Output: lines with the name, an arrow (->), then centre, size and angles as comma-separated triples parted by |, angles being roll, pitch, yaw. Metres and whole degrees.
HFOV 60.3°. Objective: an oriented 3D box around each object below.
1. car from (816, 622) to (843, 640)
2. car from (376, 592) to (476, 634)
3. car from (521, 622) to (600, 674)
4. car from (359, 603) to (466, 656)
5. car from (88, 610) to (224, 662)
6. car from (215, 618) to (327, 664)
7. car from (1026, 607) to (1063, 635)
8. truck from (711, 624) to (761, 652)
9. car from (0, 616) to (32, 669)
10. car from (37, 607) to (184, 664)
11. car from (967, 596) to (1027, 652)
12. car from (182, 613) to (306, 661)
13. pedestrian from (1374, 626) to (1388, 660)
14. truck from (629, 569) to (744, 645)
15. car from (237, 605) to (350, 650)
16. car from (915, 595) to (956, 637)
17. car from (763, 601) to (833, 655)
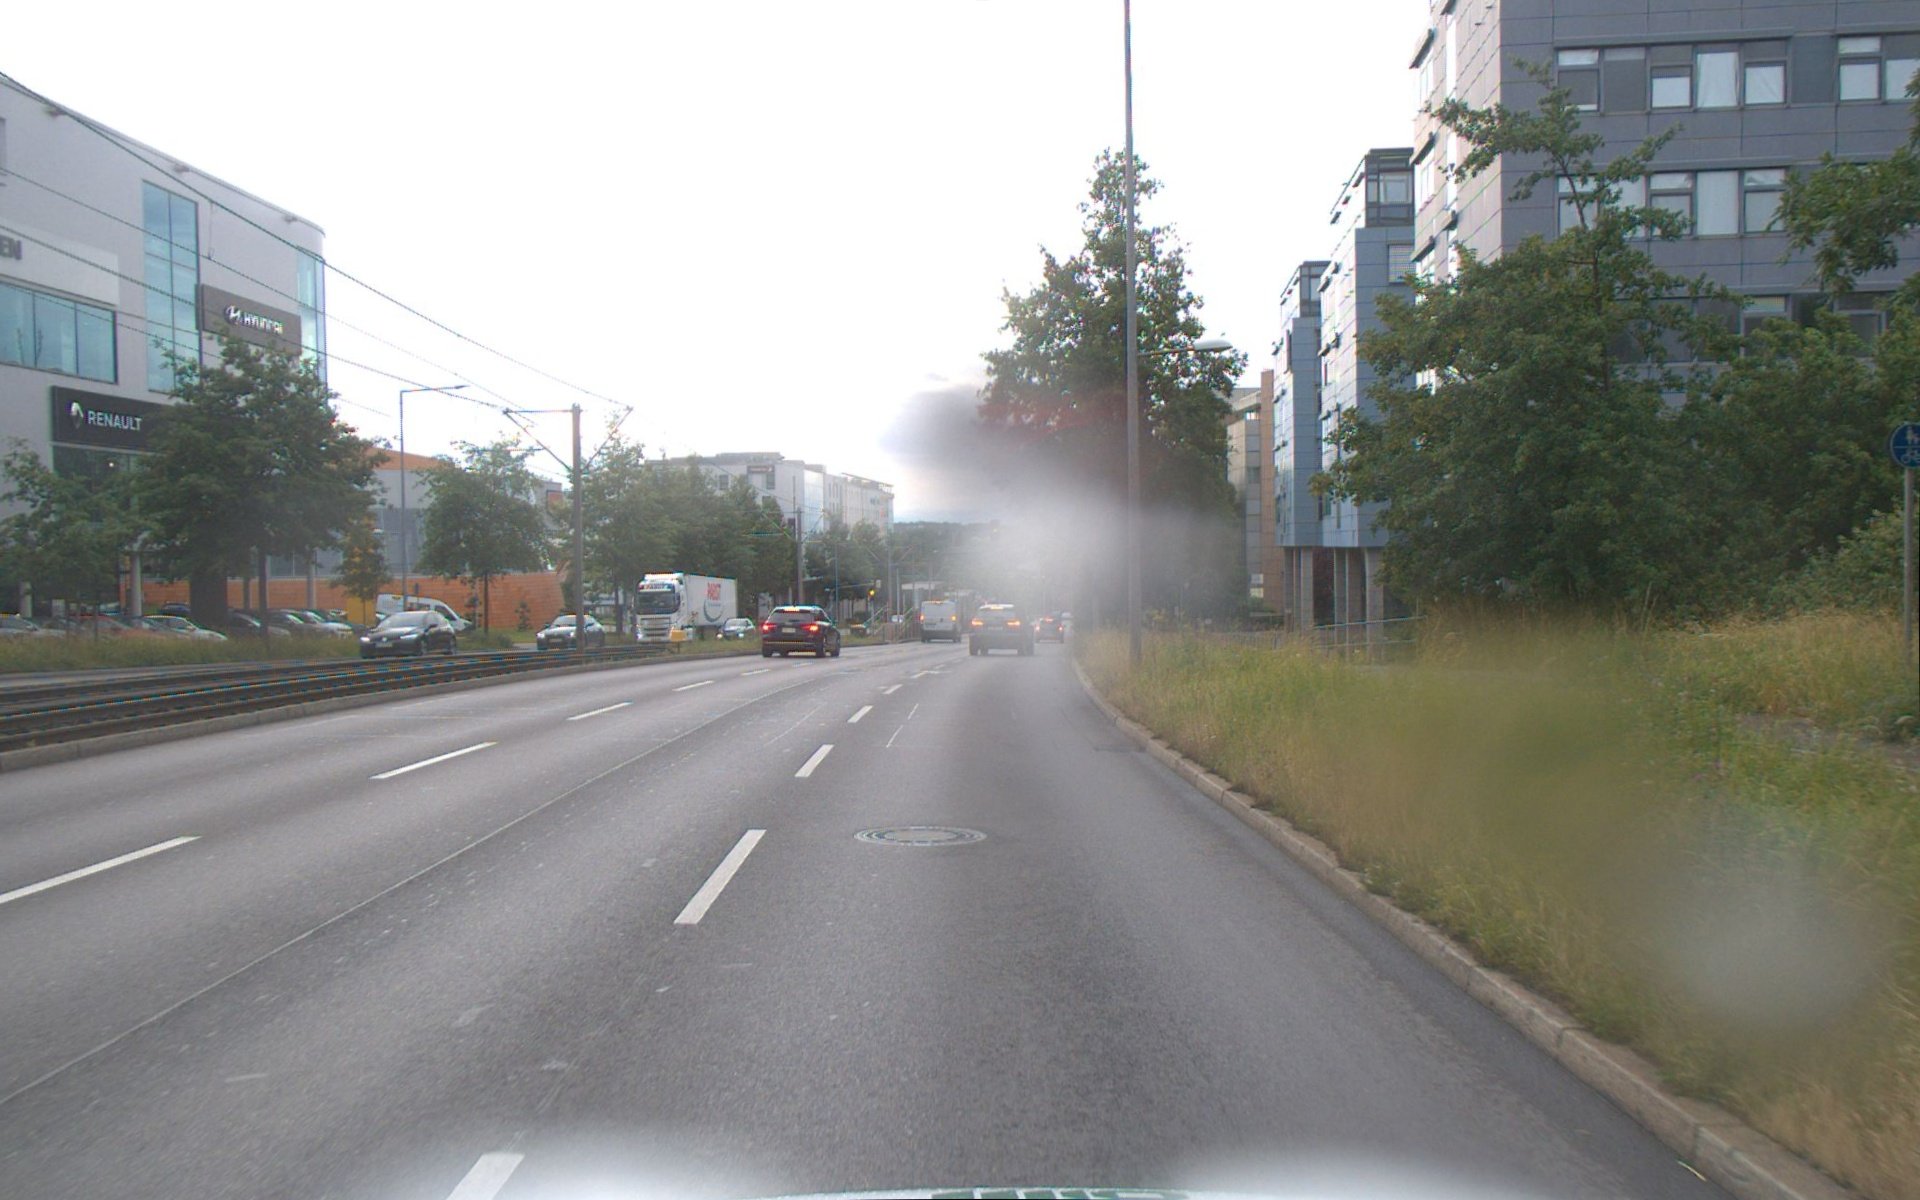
car -> -11.094, 2.657, 140.795 | 1.627, 1.467, 3.898 | 1, -1, 5
car -> -31.086, 0.754, 96.377 | 5.205, 2.353, 2.015 | 1, -1, -9
car -> -16.094, 1.917, 66.895 | 1.972, 2.011, 4.617 | 0, -1, 1
car -> -16.223, 0.880, 49.250 | 1.633, 1.487, 4.239 | 1, -1, 2
car -> -32.401, 1.424, 66.768 | 4.520, 2.011, 2.014 | 0, -1, -12
car -> -31.123, 1.840, 74.761 | 4.261, 2.011, 1.873 | -1, -1, -3
car -> 5.072, 1.255, 99.750 | 1.754, 1.619, 3.996 | -1, 0, -5
truck -> -13.556, 2.317, 100.278 | 1.901, 1.595, 4.547 | -2, -2, 6
car -> -33.055, 1.391, 53.501 | 4.923, 1.683, 2.010 | 0, -1, -17
car -> -31.496, 1.295, 61.475 | 4.529, 2.011, 2.010 | 0, -1, -17
car -> 1.244, 0.763, 54.997 | 1.883, 1.740, 4.099 | 1, 1, 1
car -> -31.090, 1.591, 71.904 | 4.510, 2.011, 2.019 | -1, -1, -3
pedestrian -> 17.795, 1.813, 69.936 | 0.492, 1.433, 0.457 | 1, -1, 4
truck -> -16.510, 0.376, 101.702 | 2.978, 4.254, 17.210 | 1, 0, 4
car -> -31.318, 1.294, 77.826 | 4.510, 2.011, 2.019 | -1, -1, -3
car -> -1.400, 0.885, 94.386 | 2.222, 2.325, 4.758 | 1, 0, -1
car -> -4.621, 0.764, 47.647 | 1.750, 1.438, 4.803 | 1, 0, -3
